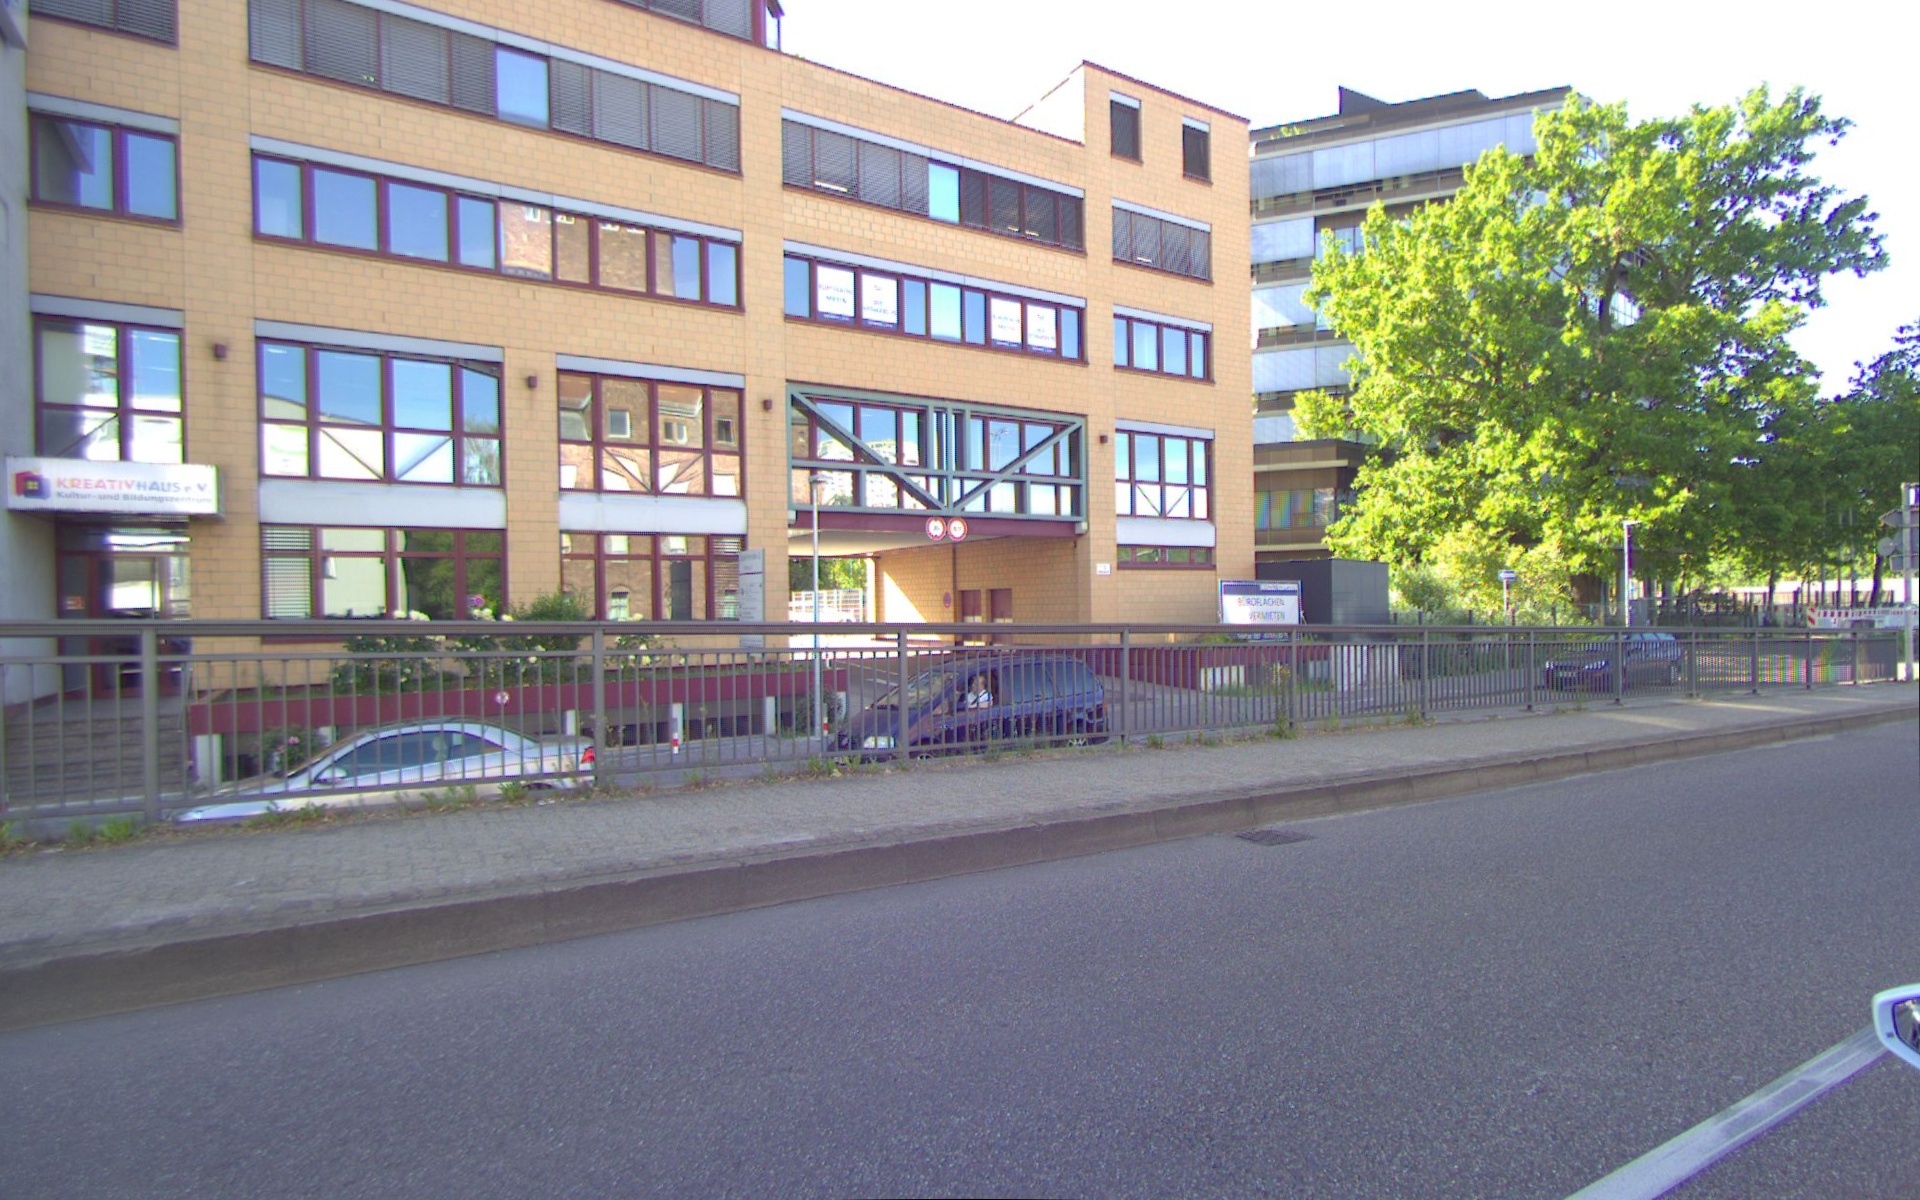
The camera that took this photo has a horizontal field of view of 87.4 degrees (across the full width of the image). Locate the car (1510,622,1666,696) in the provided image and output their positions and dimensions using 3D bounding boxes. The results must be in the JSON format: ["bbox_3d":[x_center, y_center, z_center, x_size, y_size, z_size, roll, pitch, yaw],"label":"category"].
[{"bbox_3d":[16.438,1.467,26.269,3.953,1.715,1.843,-1,0,-30],"label":"car"}]

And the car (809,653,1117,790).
[{"bbox_3d":[0.136,1.701,15.213,4.541,1.669,1.710,0,-2,-35],"label":"car"}]

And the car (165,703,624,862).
[{"bbox_3d":[-6.133,1.904,11.305,4.210,1.181,1.713,0,-2,-32],"label":"car"}]

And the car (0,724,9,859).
[{"bbox_3d":[-10.630,1.848,8.289,3.766,1.286,1.567,0,-2,-32],"label":"car"}]
